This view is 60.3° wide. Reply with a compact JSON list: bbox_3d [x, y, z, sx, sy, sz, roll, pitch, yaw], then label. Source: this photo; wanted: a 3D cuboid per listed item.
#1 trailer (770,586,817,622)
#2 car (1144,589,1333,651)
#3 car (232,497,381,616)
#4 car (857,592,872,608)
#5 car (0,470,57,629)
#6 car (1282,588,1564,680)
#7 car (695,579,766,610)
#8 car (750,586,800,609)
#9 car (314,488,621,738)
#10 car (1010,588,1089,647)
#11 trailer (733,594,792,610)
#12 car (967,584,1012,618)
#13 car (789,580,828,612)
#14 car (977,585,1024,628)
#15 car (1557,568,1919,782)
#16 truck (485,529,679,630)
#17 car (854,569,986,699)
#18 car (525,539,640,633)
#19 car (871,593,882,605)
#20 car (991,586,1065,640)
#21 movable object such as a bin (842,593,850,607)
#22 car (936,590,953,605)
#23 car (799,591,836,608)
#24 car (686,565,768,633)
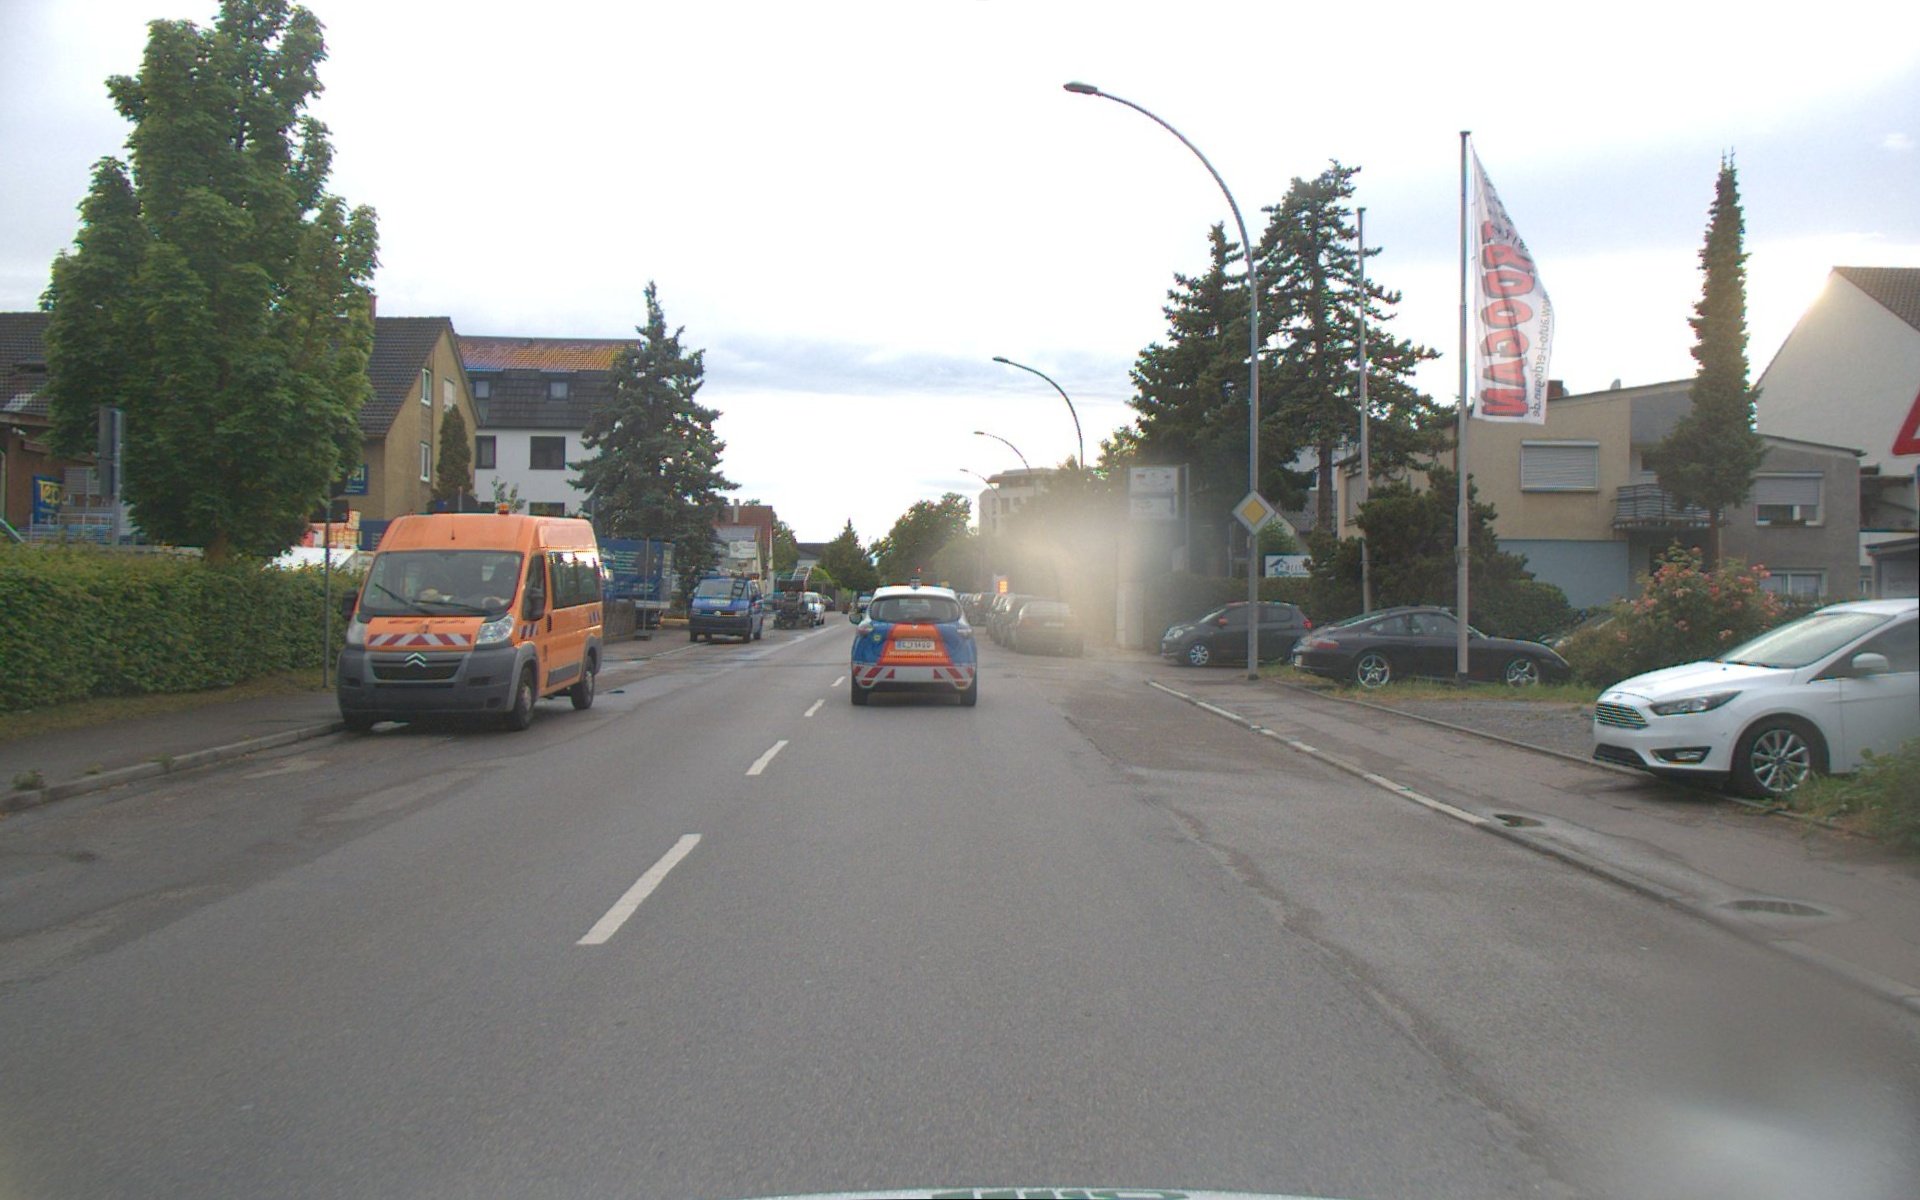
[{"bbox_3d":[-6.977,0.133,69.786,1.683,1.282,5.242,2,2,-3],"label":"trailer"},{"bbox_3d":[6.310,0.448,37.780,3.907,1.288,1.950,2,0,-3],"label":"car"},{"bbox_3d":[-18.064,-1.140,46.022,2.033,3.066,5.242,2,0,-1],"label":"car"},{"bbox_3d":[-8.982,-0.015,155.777,1.358,1.509,3.782,0,0,-3],"label":"car"},{"bbox_3d":[-14.466,-0.712,21.523,4.219,2.049,2.062,2,0,-1],"label":"car"},{"bbox_3d":[7.222,0.518,26.102,3.905,1.288,1.951,2,0,0],"label":"car"},{"bbox_3d":[-12.527,-0.295,90.482,3.684,1.595,1.654,2,0,-3],"label":"car"},{"bbox_3d":[-13.370,-0.156,119.767,3.511,1.553,1.653,2,0,-6],"label":"car"},{"bbox_3d":[-5.832,0.105,20.529,2.082,2.582,6.020,-2,1,-2],"label":"car"},{"bbox_3d":[2.275,0.421,42.948,1.558,1.364,4.090,3,0,-3],"label":"car"},{"bbox_3d":[-13.988,0.110,117.281,3.942,1.012,1.654,2,0,-3],"label":"trailer"},{"bbox_3d":[1.310,0.059,75.064,1.677,1.463,4.523,2,0,-4],"label":"car"},{"bbox_3d":[-7.081,-0.179,77.596,1.526,1.458,3.999,2,0,-1],"label":"car"},{"bbox_3d":[1.444,0.215,59.503,1.457,1.464,3.806,2,0,-2],"label":"car"},{"bbox_3d":[7.124,0.565,12.887,4.251,1.501,1.902,1,0,-2],"label":"car"},{"bbox_3d":[-12.479,-0.659,54.900,5.791,3.127,2.449,2,0,-1],"label":"truck"},{"bbox_3d":[-0.572,0.444,23.048,1.697,1.659,3.493,0,0,-2],"label":"car"},{"bbox_3d":[-11.267,-0.387,49.869,2.033,2.612,6.200,2,0,-1],"label":"car"},{"bbox_3d":[-8.624,-0.114,171.292,1.128,1.254,3.370,0,1,-3],"label":"car"},{"bbox_3d":[1.902,0.362,47.786,1.624,1.444,4.773,2,0,-4],"label":"car"},{"bbox_3d":[-9.701,0.015,140.760,0.568,1.225,0.318,1,0,-2],"label":"movable object such as a bin"},{"bbox_3d":[-1.710,-0.248,177.172,1.617,1.509,3.997,2,0,-3],"label":"car"},{"bbox_3d":[-12.632,-0.080,146.649,3.218,1.473,1.478,-1,0,-6],"label":"car"},{"bbox_3d":[-7.254,-0.023,51.939,1.953,1.981,5.363,0,0,-2],"label":"car"}]
